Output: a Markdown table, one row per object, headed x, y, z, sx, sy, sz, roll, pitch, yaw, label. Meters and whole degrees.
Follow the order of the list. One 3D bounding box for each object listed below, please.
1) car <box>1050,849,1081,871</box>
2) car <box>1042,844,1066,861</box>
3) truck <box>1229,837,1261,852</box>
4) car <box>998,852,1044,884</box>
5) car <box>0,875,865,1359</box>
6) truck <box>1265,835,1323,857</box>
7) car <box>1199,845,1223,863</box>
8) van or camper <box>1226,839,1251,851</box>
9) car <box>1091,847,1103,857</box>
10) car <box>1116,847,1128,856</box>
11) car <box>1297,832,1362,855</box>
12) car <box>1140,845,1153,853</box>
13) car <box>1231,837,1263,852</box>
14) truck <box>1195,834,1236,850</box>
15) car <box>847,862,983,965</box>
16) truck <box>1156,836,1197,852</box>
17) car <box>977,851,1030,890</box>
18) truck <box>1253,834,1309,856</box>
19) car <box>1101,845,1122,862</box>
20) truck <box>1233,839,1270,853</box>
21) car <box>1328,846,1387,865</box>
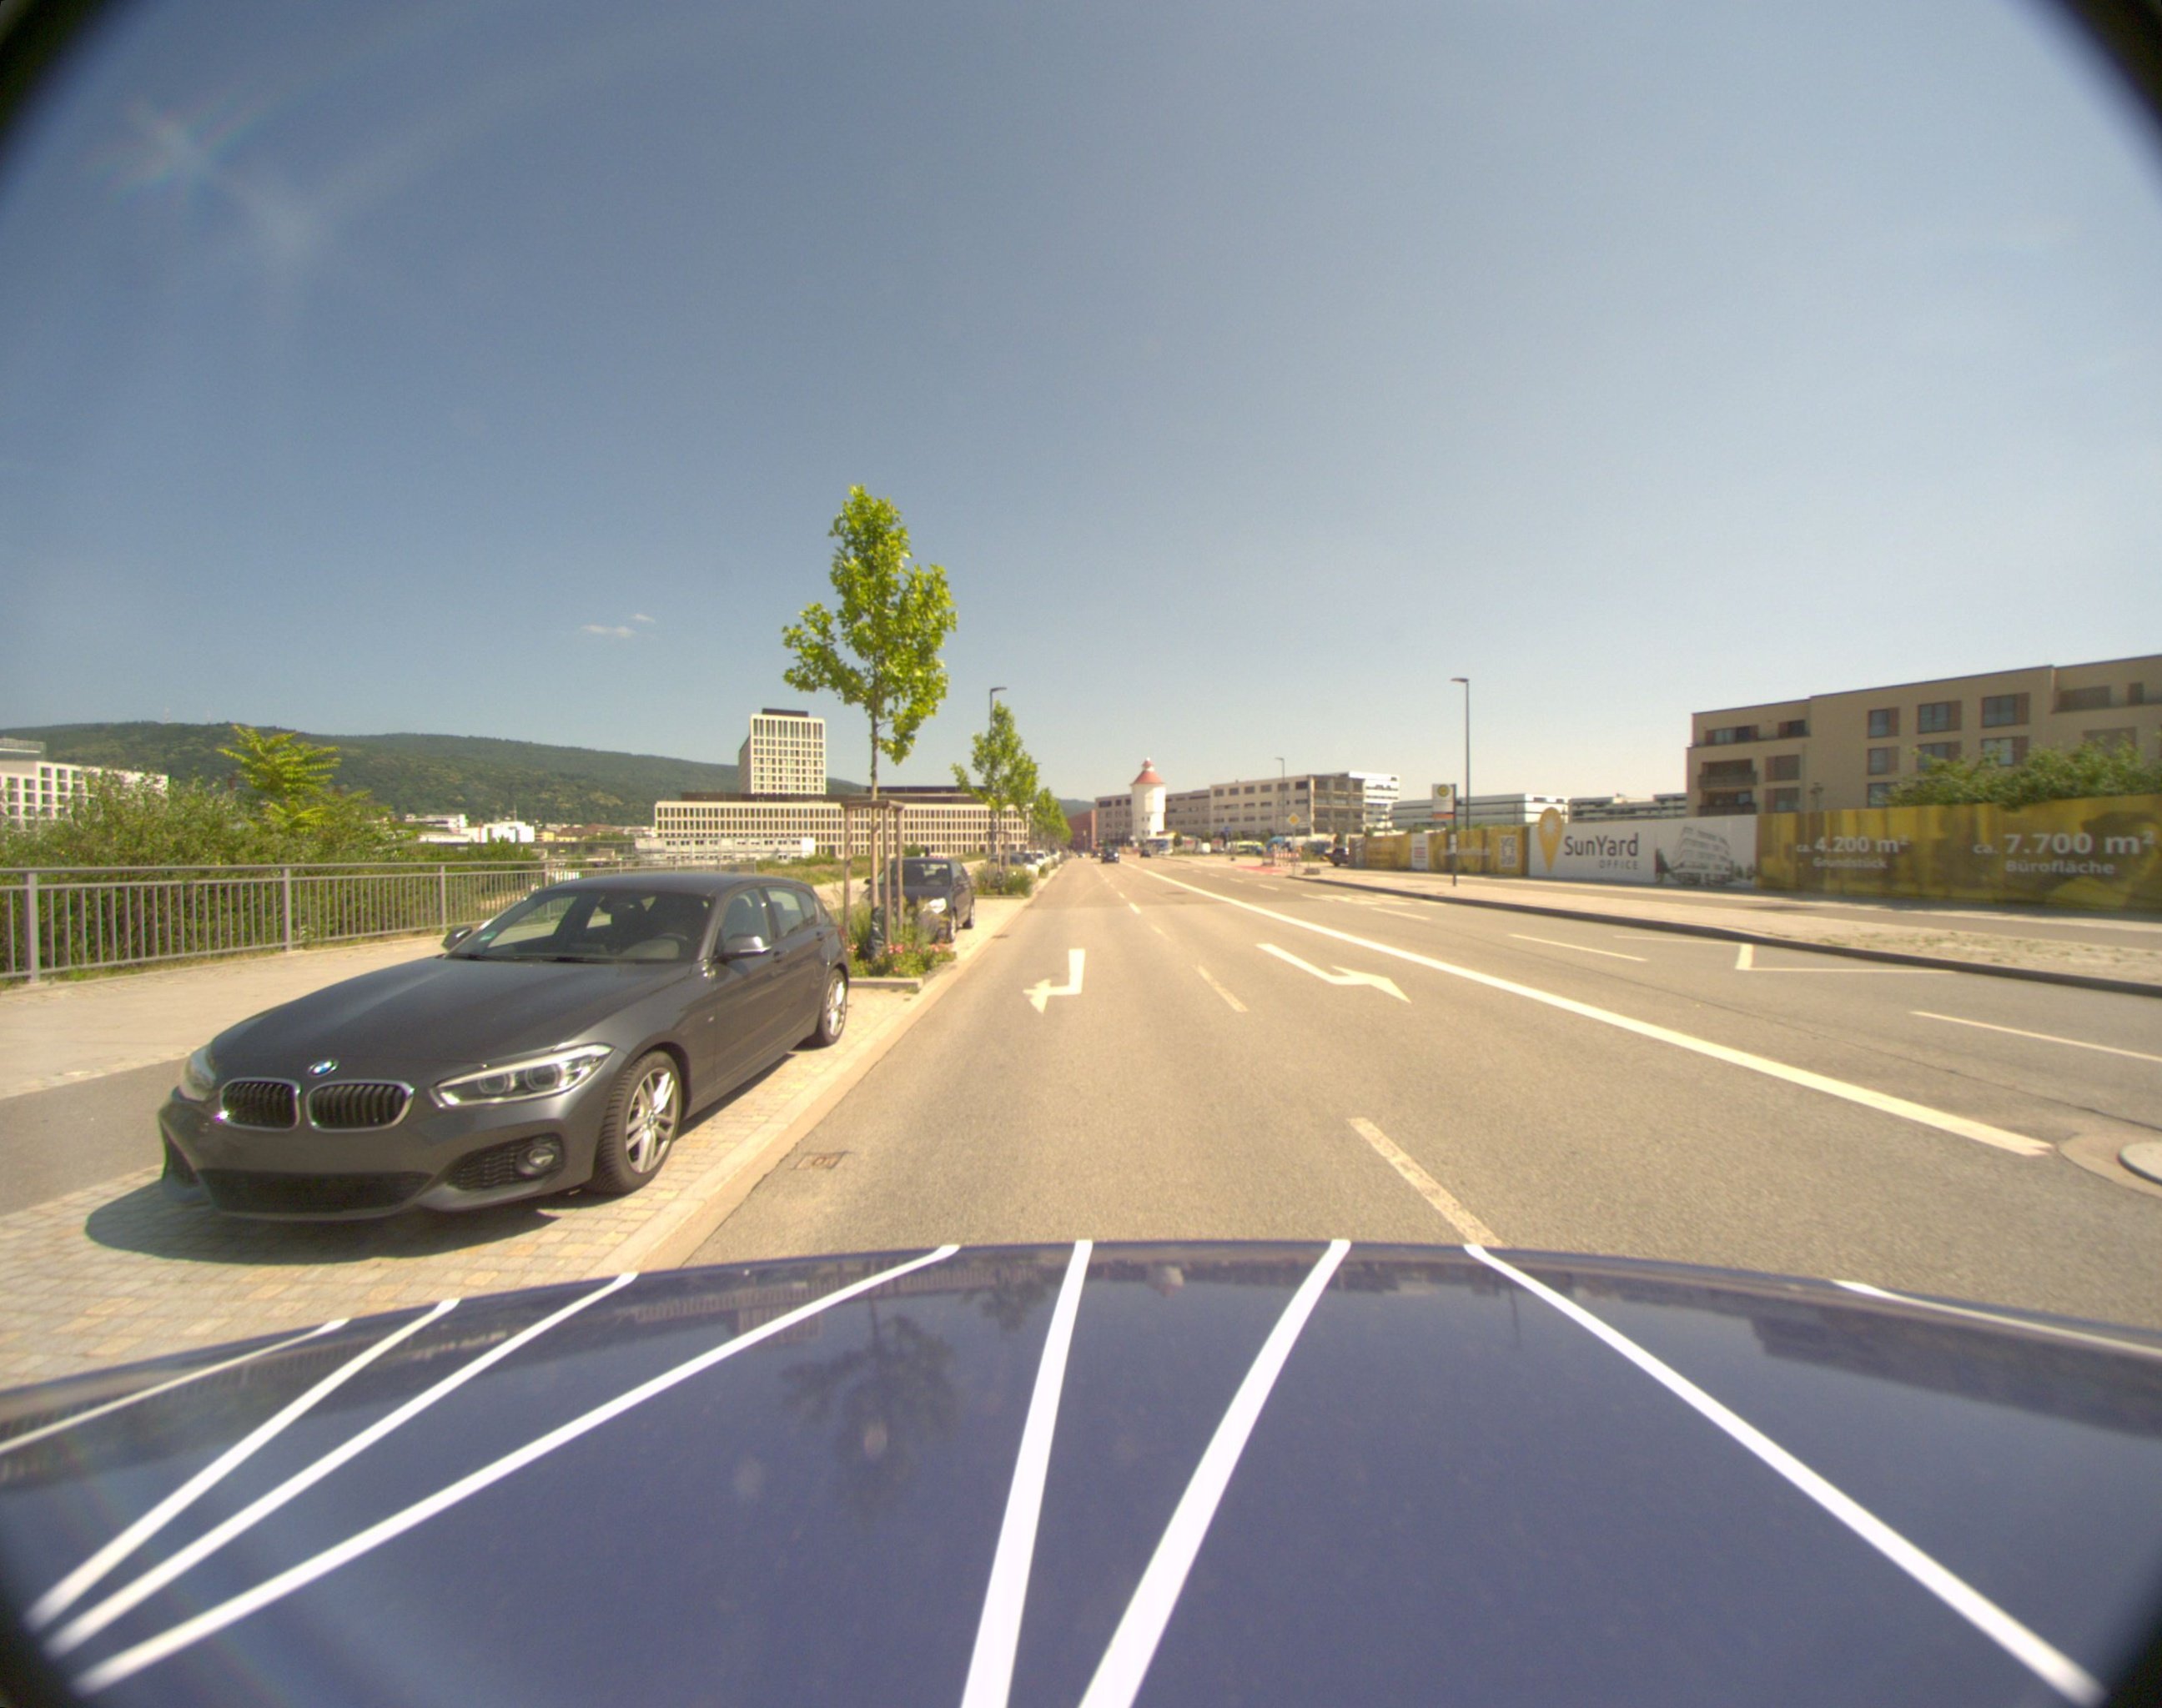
| x | y | z | sx | sy | sz | roll | pitch | yaw | label |
| --- | --- | --- | --- | --- | --- | --- | --- | --- | --- |
| -1.052 | 0.410 | 54.737 | 1.913 | 1.470 | 4.158 | 0 | 1 | 3 | car |
| -2.536 | -0.186 | 72.505 | 1.913 | 1.568 | 4.158 | 0 | 1 | 3 | car |
| 34.876 | -2.091 | 162.032 | 6.160 | 2.885 | 2.569 | -2 | 2 | 1 | truck |
| -2.862 | 0.645 | 37.061 | 1.708 | 1.454 | 4.085 | -1 | 0 | 2 | car |
| -2.845 | 0.943 | 4.682 | 1.708 | 1.394 | 4.269 | 1 | 1 | 1 | car |
| 23.140 | -0.895 | 82.665 | 5.581 | 2.349 | 2.274 | 0 | 1 | -1 | truck |
| 11.812 | -0.031 | 69.447 | 1.611 | 1.468 | 3.678 | 1 | 2 | 1 | car |
| 34.403 | -1.973 | 166.135 | 4.912 | 2.646 | 2.259 | -2 | 1 | 0 | van or camper |
| 2.689 | -0.291 | 126.774 | 1.783 | 1.552 | 3.832 | -1 | 0 | 2 | car |
| 7.470 | -0.441 | 137.613 | 1.917 | 1.640 | 4.732 | -1 | 0 | 5 | car |
| 23.825 | -1.042 | 73.055 | 5.458 | 2.160 | 2.394 | 0 | 1 | -3 | car |
| 10.982 | -0.871 | 127.876 | 1.708 | 1.344 | 4.455 | 0 | 1 | 0 | car |
| 21.789 | -1.227 | 99.858 | 3.994 | 1.893 | 1.828 | 0 | 1 | 7 | car |
| 38.013 | -3.425 | 215.221 | 10.951 | 4.252 | 3.340 | -2 | 2 | -11 | truck |
| -2.852 | 0.958 | 13.876 | 1.709 | 1.454 | 3.952 | 1 | 2 | -2 | car |
| 26.610 | -2.829 | 212.091 | 10.988 | 4.045 | 3.296 | -3 | 2 | -17 | truck |
| -3.128 | 0.632 | 31.175 | 1.708 | 1.454 | 3.954 | -2 | 0 | 0 | car |
| 23.580 | -1.076 | 89.683 | 6.019 | 2.529 | 2.275 | 0 | 1 | 0 | truck |
| 2.965 | -0.057 | 74.284 | 1.783 | 1.552 | 3.831 | 0 | 1 | 0 | car |
| 34.544 | -1.611 | 153.882 | 6.657 | 2.809 | 2.601 | -2 | 1 | -7 | truck |
| 20.141 | 0.100 | 55.280 | 4.255 | 1.310 | 1.995 | -1 | 1 | -35 | car |
